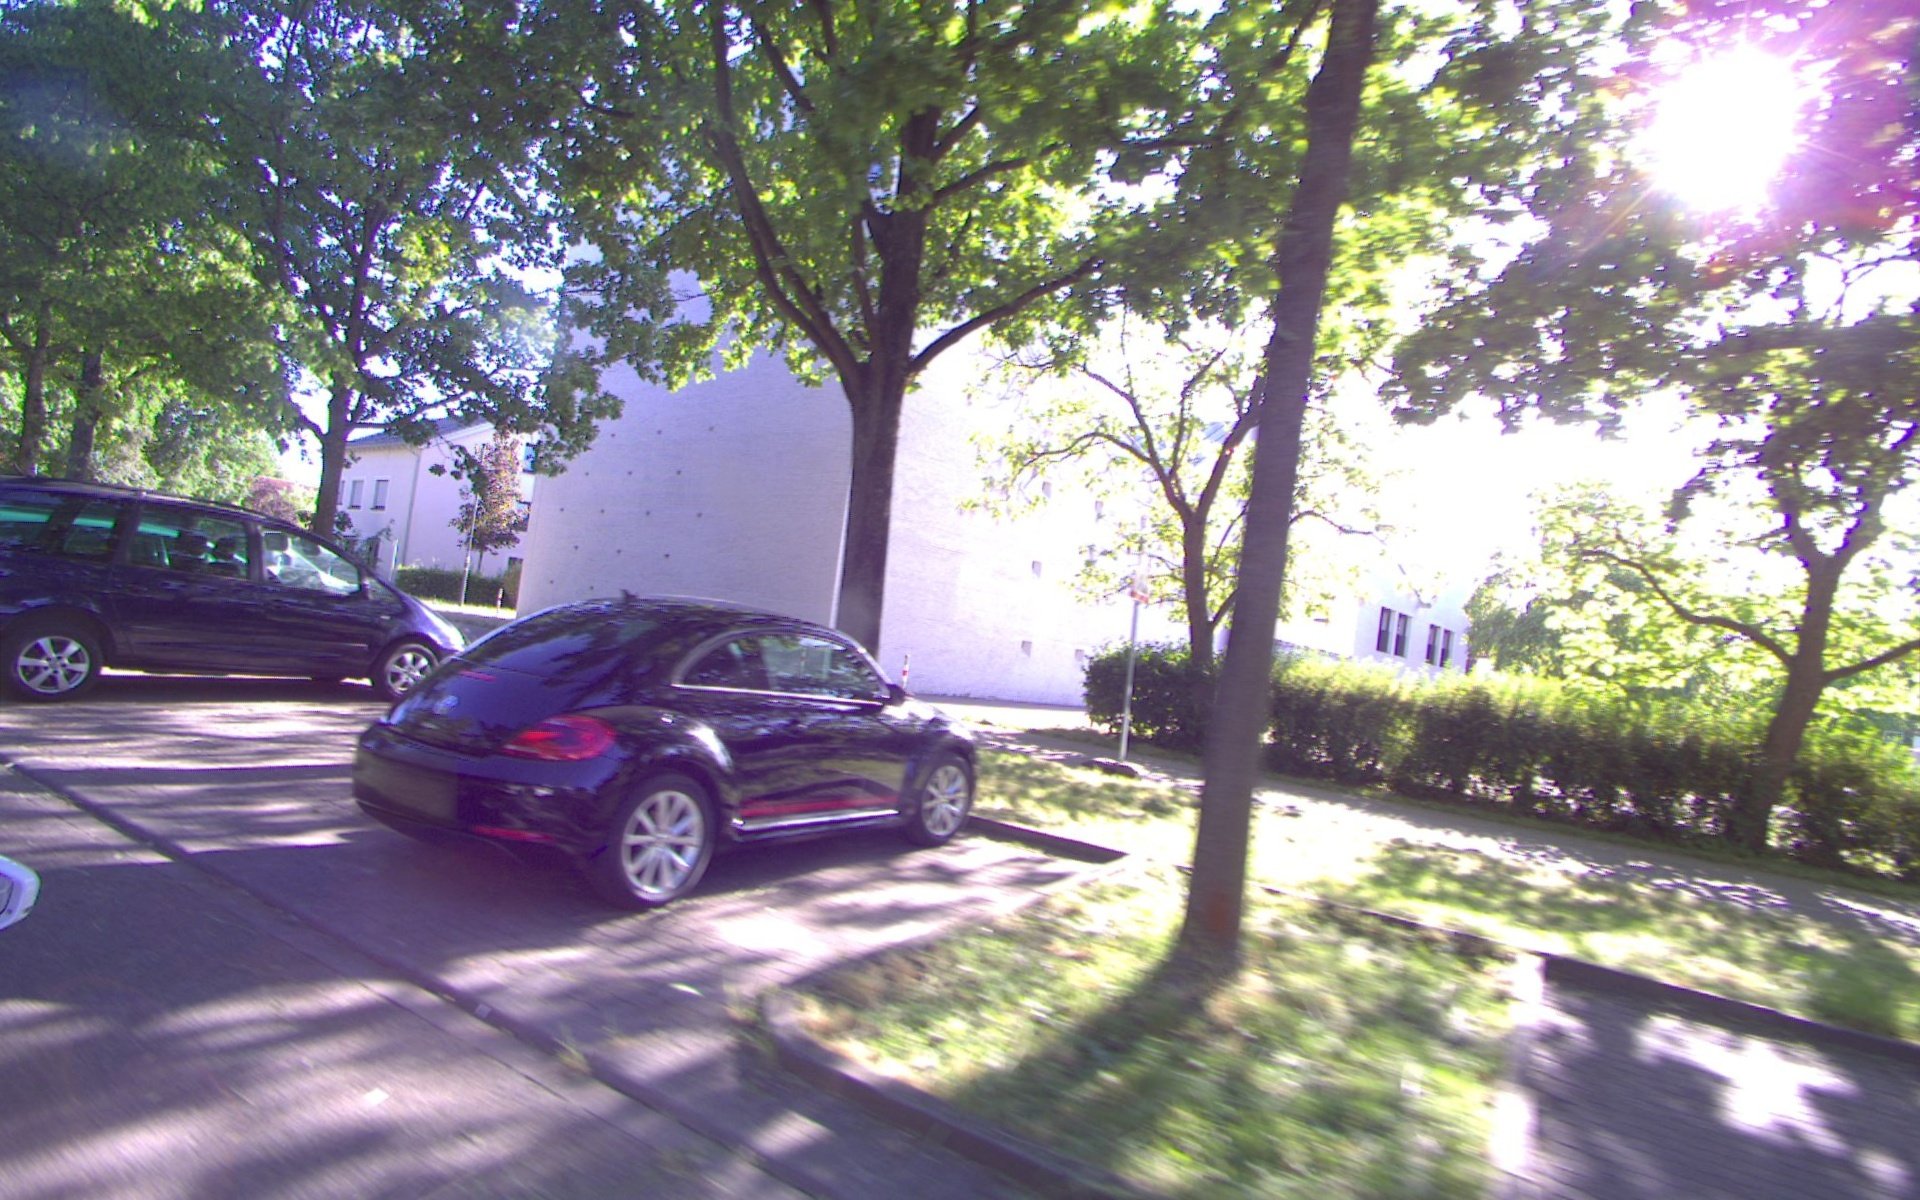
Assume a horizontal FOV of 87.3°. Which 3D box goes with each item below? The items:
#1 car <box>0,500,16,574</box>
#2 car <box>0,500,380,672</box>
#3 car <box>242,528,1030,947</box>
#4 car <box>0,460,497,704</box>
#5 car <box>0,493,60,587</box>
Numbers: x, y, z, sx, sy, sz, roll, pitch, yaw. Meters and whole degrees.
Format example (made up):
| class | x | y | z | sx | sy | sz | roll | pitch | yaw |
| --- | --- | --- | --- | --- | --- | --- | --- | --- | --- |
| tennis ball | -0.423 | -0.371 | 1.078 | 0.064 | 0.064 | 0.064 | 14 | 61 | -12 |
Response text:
| class | x | y | z | sx | sy | sz | roll | pitch | yaw |
| --- | --- | --- | --- | --- | --- | --- | --- | --- | --- |
| car | -21.323 | -1.539 | 18.998 | 1.884 | 1.473 | 4.679 | 7 | -1 | 31 |
| car | -8.899 | -0.137 | 10.775 | 1.771 | 1.489 | 4.226 | 7 | -1 | 33 |
| car | -1.541 | 0.688 | 6.287 | 2.044 | 1.537 | 4.251 | 7 | -1 | 33 |
| car | -7.106 | -0.072 | 9.496 | 1.904 | 1.822 | 4.537 | 7 | -1 | 31 |
| car | -18.715 | -1.321 | 17.106 | 1.885 | 1.599 | 4.677 | 7 | -1 | 32 |
